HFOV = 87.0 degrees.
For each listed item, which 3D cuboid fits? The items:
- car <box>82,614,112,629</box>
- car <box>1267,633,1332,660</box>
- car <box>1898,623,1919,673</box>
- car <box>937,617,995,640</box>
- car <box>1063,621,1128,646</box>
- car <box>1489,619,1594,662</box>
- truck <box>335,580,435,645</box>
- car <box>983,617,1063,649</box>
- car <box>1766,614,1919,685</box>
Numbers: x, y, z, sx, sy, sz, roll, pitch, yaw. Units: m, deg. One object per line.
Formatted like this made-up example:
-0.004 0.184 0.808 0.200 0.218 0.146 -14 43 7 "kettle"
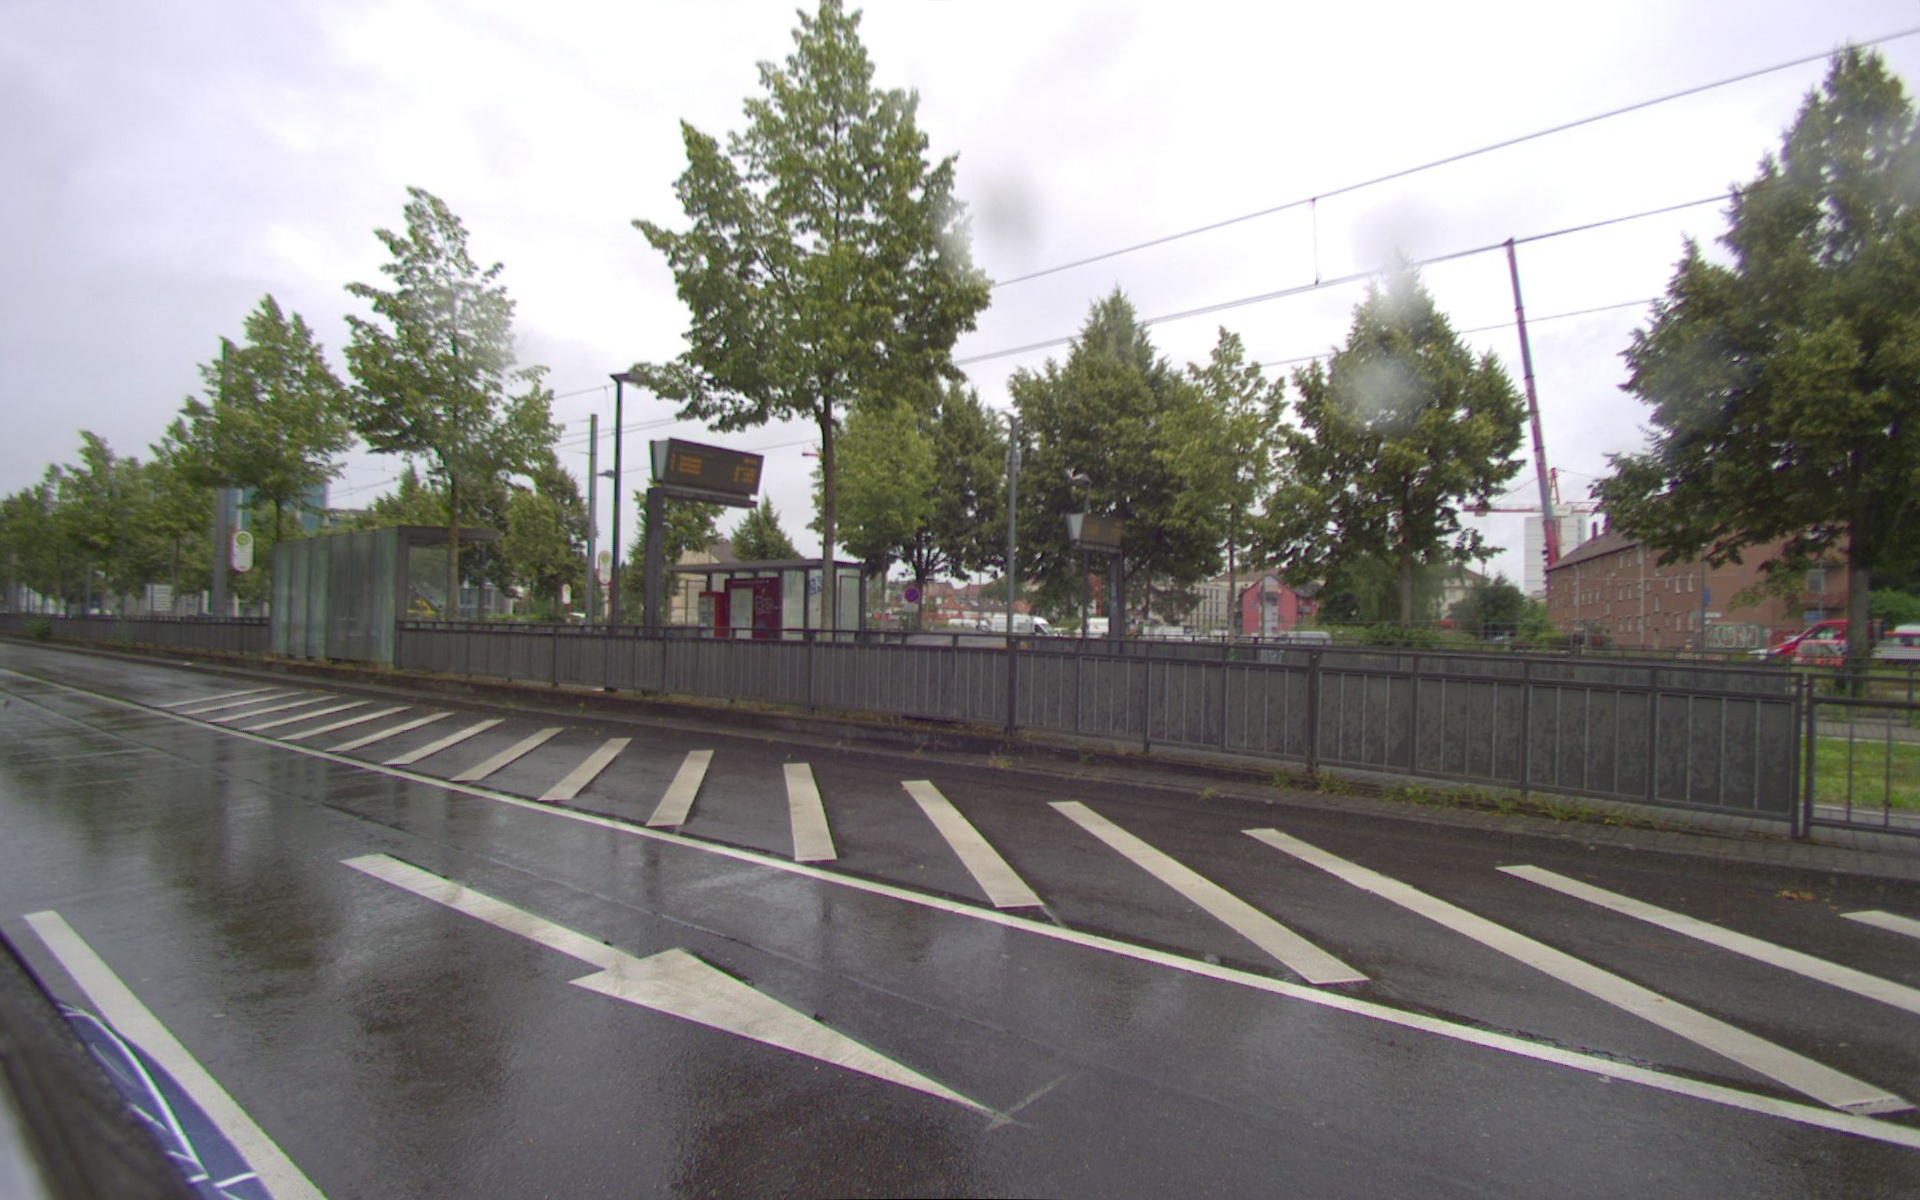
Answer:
-102.293 2.530 119.967 3.995 1.759 1.974 0 0 38 "car"
26.171 3.572 77.983 4.415 1.891 1.855 0 0 34 "car"
45.959 2.170 44.936 1.597 2.296 6.114 2 -3 -37 "car"
0.600 3.000 108.313 6.123 2.323 1.978 0 0 32 "car"
11.837 2.905 88.748 5.411 2.067 1.976 0 0 37 "car"
35.879 2.468 62.534 5.482 2.471 1.976 0 0 36 "car"
-36.147 0.722 63.480 9.180 3.806 2.659 0 0 42 "truck"
5.304 2.764 85.812 6.735 2.480 1.975 0 0 37 "car"
33.488 1.767 36.639 1.597 2.489 6.500 2 -2 -39 "car"
